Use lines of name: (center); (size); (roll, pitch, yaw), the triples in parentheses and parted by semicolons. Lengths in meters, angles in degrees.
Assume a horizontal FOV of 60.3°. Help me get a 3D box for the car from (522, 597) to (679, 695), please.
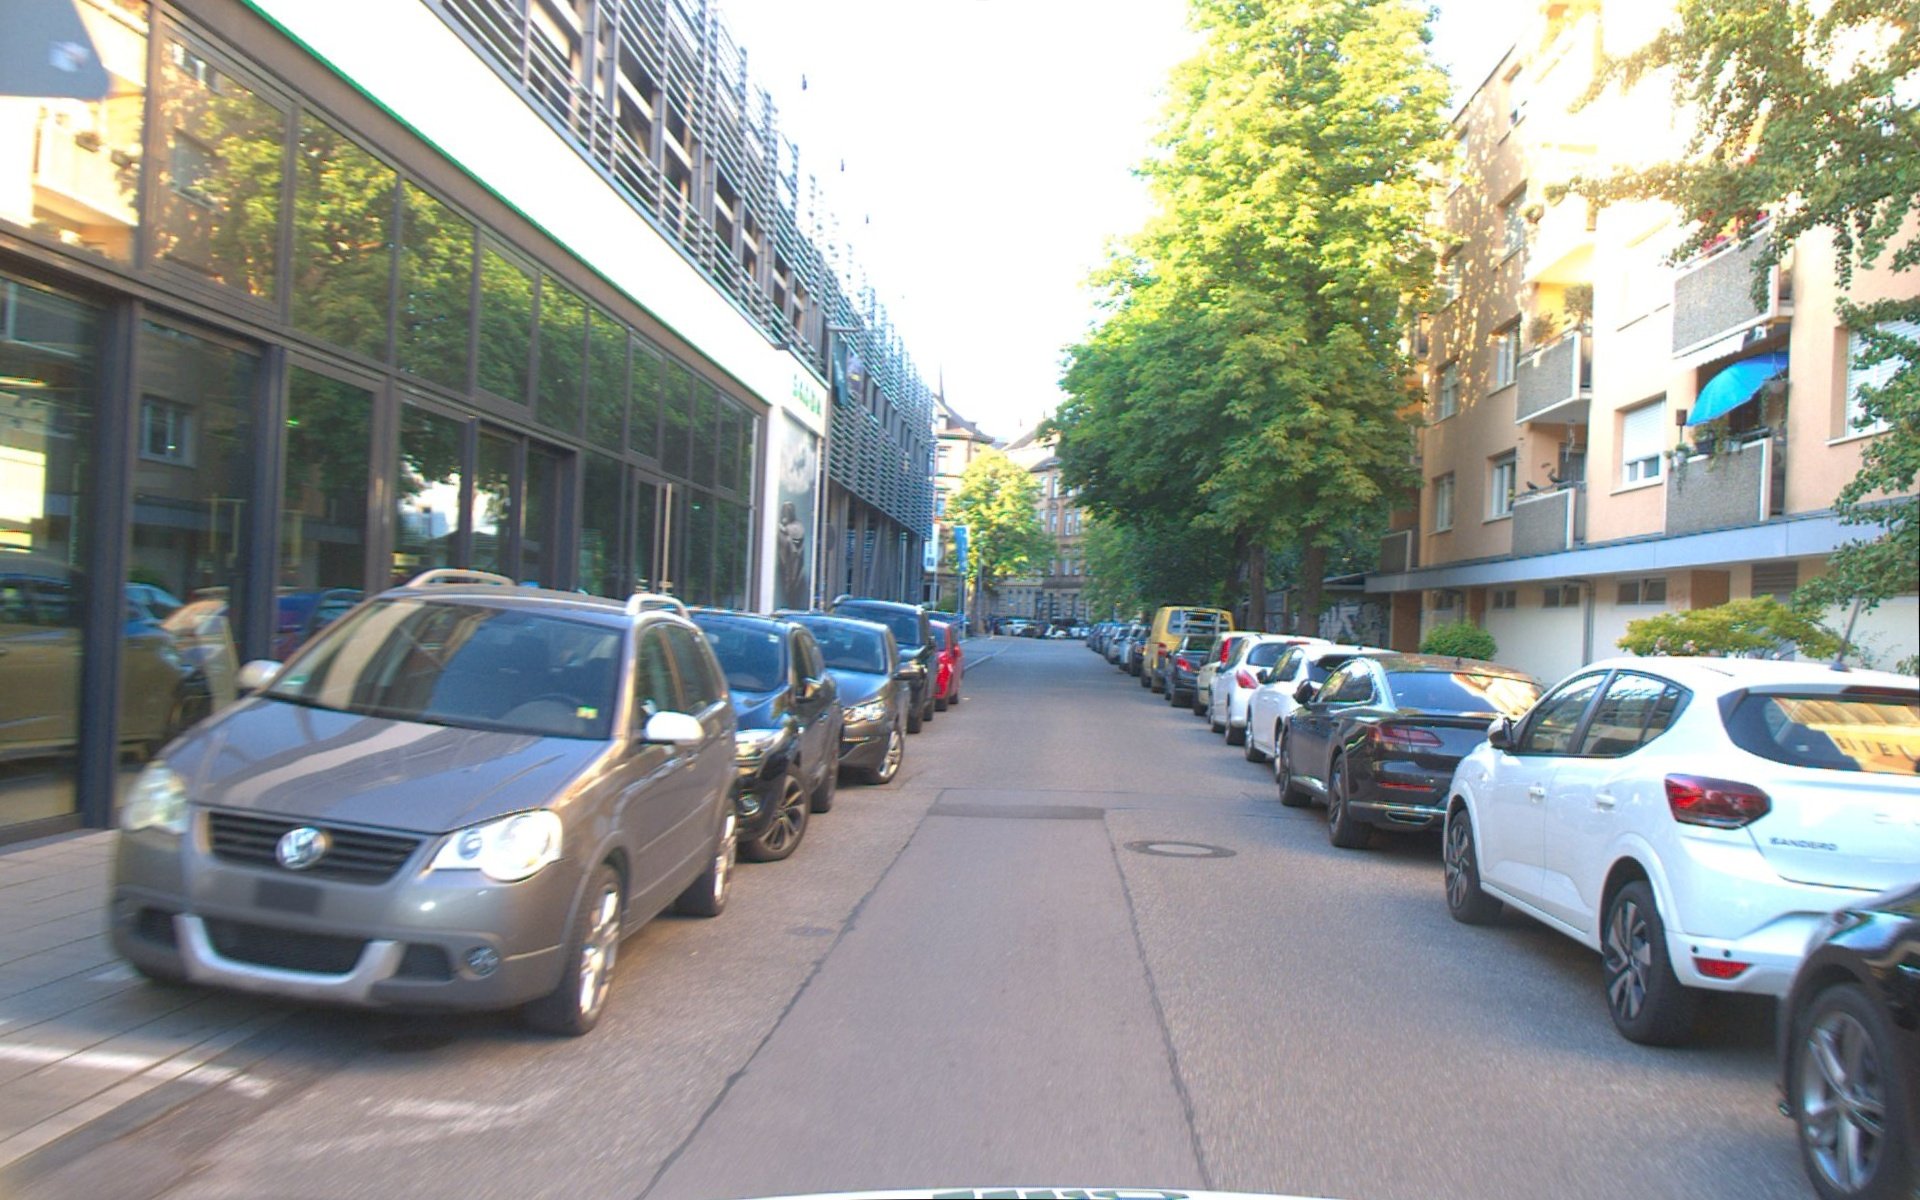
car: (-6.108, 0.753, 28.510); (1.662, 1.499, 3.783); (2, 0, 3)

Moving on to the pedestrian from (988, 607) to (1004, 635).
pedestrian: (2.425, 1.433, 110.969); (0.723, 1.835, 1.116); (2, 0, -17)

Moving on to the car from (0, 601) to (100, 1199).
car: (-2.388, 0.626, 0.895); (1.629, 1.434, 3.927); (7, 0, 0)

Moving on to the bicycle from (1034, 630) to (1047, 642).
bicycle: (6.232, 2.777, 127.916); (0.416, 0.836, 1.461); (2, 0, 25)

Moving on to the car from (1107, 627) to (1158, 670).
car: (6.706, 1.878, 64.676); (1.722, 1.467, 4.007); (2, 0, 3)

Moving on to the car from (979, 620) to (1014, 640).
car: (3.116, 2.546, 142.449); (1.631, 1.456, 3.873); (3, 0, -21)

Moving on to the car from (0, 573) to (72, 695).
car: (-12.371, 0.377, 19.333); (1.662, 1.459, 3.921); (2, 0, 3)

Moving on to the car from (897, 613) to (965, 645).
car: (-1.810, 1.819, 103.575); (4.045, 1.646, 1.913); (4, 0, 1)

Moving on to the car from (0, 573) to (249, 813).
car: (-6.919, 0.576, 11.791); (1.662, 1.541, 4.193); (2, 0, 3)

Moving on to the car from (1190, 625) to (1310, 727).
car: (4.905, 1.245, 28.342); (1.576, 1.537, 3.479); (2, 0, 3)

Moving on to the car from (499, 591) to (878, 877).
car: (-1.672, 0.784, 11.567); (1.694, 1.426, 4.007); (8, 0, 2)

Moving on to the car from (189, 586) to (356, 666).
car: (-12.016, 0.428, 29.088); (1.390, 1.277, 3.215); (2, 0, 4)

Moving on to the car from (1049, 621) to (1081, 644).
car: (8.976, 2.780, 141.736); (1.650, 1.813, 2.996); (3, 0, -21)

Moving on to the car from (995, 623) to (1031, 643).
car: (4.408, 2.756, 137.860); (1.629, 1.456, 4.145); (3, 0, -19)

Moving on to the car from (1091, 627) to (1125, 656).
car: (8.244, 2.279, 92.243); (1.660, 1.502, 4.118); (2, -1, 3)

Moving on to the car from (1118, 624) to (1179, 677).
car: (6.150, 1.626, 54.358); (1.686, 1.546, 4.027); (2, 0, 3)

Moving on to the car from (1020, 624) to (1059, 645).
car: (6.400, 2.794, 133.240); (1.630, 1.456, 3.967); (3, 0, -20)

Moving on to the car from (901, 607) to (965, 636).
car: (-1.716, 1.364, 106.723); (3.983, 1.646, 1.765); (2, 0, 1)

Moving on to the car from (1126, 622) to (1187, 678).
car: (5.794, 1.463, 49.025); (1.530, 1.475, 3.455); (2, 0, 3)

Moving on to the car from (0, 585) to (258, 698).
car: (-12.020, 0.565, 24.150); (1.662, 1.459, 3.921); (2, 0, 3)

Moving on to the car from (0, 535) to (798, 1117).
car: (-1.898, 0.689, 6.910); (1.628, 1.522, 3.886); (8, 0, 4)

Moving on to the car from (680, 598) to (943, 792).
car: (-1.343, 0.836, 16.751); (1.896, 1.624, 4.207); (2, 0, 5)

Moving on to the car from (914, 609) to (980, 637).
car: (-0.978, 1.689, 122.370); (4.733, 1.762, 1.919); (3, 0, -3)

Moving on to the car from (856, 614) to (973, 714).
car: (-0.713, 1.039, 28.446); (1.662, 1.532, 3.792); (2, 0, 3)

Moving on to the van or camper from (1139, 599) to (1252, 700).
van or camper: (5.422, 1.081, 38.729); (2.021, 2.132, 5.092); (2, 0, 2)

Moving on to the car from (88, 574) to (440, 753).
car: (-6.888, 0.582, 16.865); (1.662, 1.541, 3.995); (2, 0, 3)

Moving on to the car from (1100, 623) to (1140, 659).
car: (7.796, 1.994, 80.606); (1.722, 1.632, 3.875); (2, -1, 3)

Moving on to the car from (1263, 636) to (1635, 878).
car: (3.639, 1.079, 13.199); (1.772, 1.441, 4.627); (2, 0, 3)

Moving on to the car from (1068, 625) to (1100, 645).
car: (10.364, 2.926, 138.133); (1.650, 1.552, 2.750); (3, 0, -21)

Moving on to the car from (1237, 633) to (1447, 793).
car: (4.185, 1.178, 18.668); (1.576, 1.487, 4.055); (2, 0, 3)

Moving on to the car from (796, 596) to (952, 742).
car: (-1.105, 0.885, 23.162); (1.662, 1.787, 4.404); (2, 0, 3)

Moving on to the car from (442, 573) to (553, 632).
car: (-10.874, 0.062, 39.130); (1.390, 1.277, 3.528); (2, 0, 4)

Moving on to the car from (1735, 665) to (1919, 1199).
car: (3.180, 0.946, 3.119); (1.681, 1.444, 4.029); (2, 0, 3)

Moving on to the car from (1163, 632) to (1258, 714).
car: (5.001, 1.428, 33.411); (1.573, 1.406, 4.002); (2, 0, 5)

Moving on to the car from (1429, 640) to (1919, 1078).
car: (3.560, 0.979, 7.779); (1.772, 1.441, 3.897); (2, 0, 3)

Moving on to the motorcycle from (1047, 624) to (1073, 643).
motorcycle: (7.859, 2.620, 129.978); (1.895, 1.364, 0.576); (2, 0, -7)

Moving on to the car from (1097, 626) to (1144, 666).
car: (6.731, 1.910, 69.696); (1.722, 1.480, 4.394); (2, 0, 3)

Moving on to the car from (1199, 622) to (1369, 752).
car: (4.519, 1.151, 23.598); (1.754, 1.590, 4.195); (2, 0, 3)
